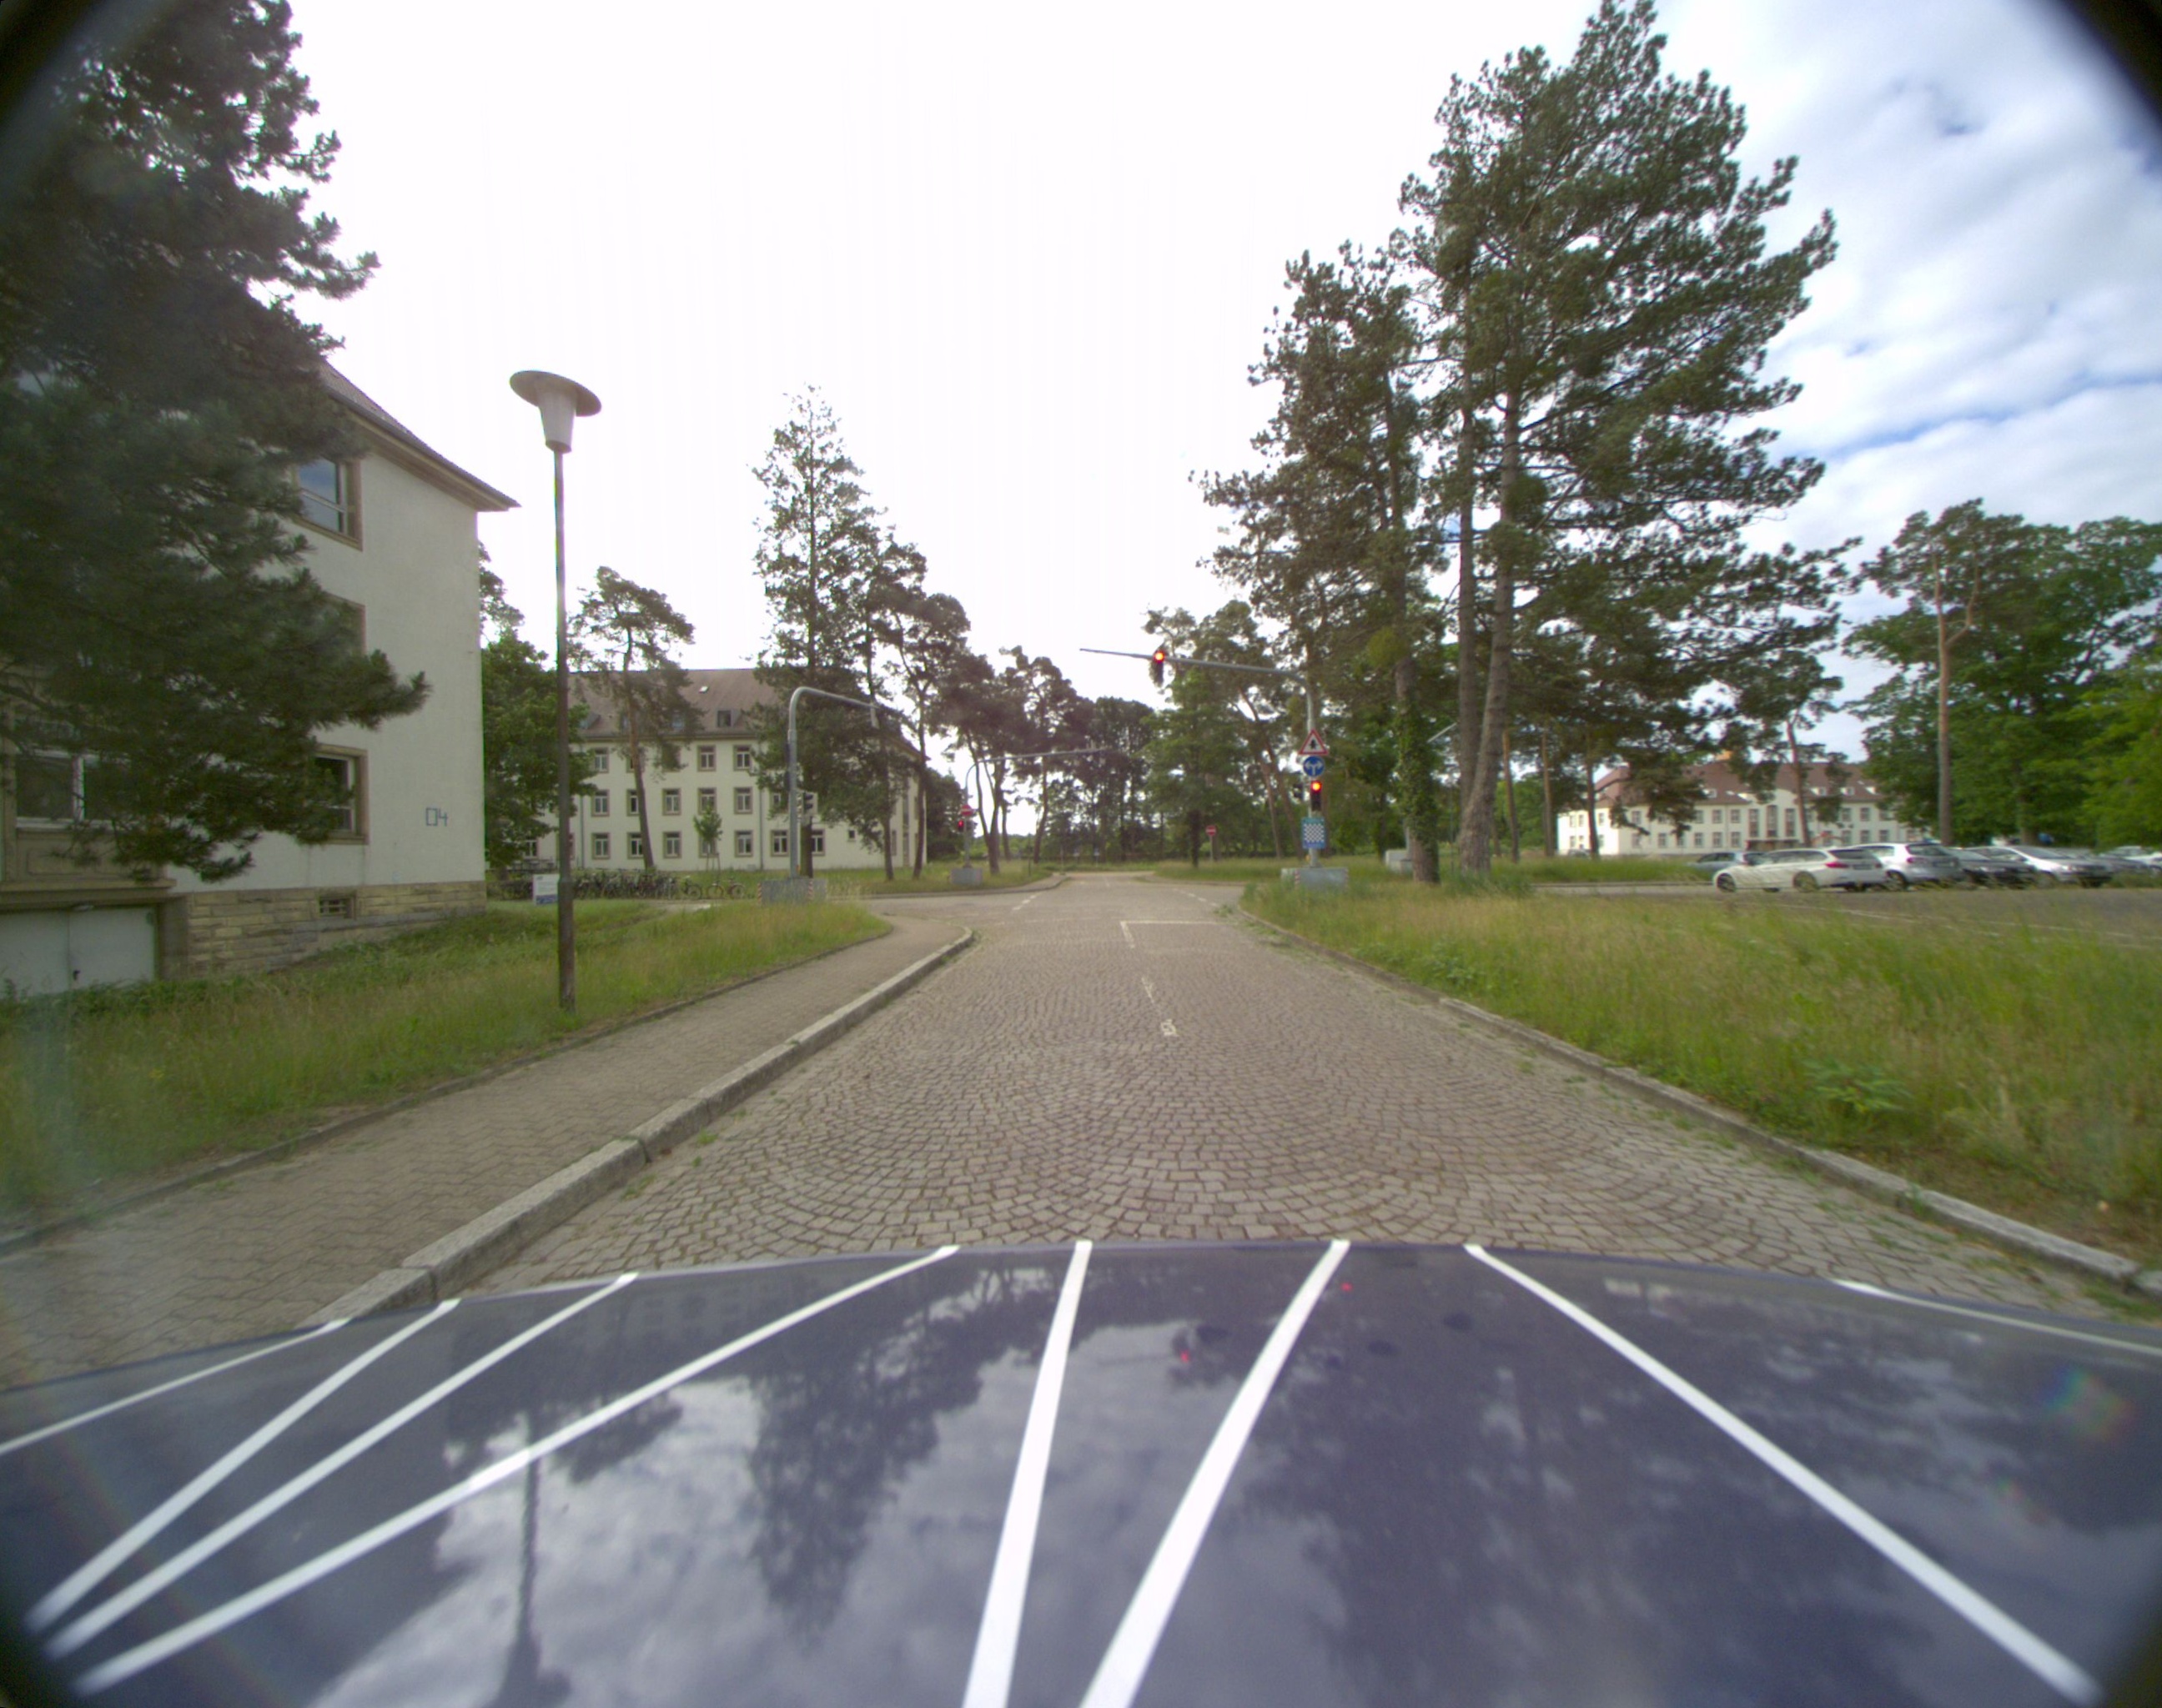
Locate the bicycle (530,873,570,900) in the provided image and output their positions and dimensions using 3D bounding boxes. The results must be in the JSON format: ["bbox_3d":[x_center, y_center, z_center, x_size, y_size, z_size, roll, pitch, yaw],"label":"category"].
[{"bbox_3d":[-23.456,1.436,33.596,0.448,1.121,1.731,-1,0,4],"label":"bicycle"}]

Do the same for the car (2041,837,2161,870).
[{"bbox_3d":[49.174,-0.020,35.935,1.830,1.466,4.401,-1,0,-3],"label":"car"}]

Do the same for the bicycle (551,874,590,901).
[{"bbox_3d":[-22.489,1.454,33.507,0.448,1.121,1.731,-1,0,4],"label":"bicycle"}]

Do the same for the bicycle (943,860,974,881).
[{"bbox_3d":[-6.391,0.863,39.768,0.613,1.079,1.660,-1,0,33],"label":"bicycle"}]

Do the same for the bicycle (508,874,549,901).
[{"bbox_3d":[-24.420,1.459,33.619,0.448,1.121,1.731,-1,0,4],"label":"bicycle"}]

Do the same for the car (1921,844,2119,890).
[{"bbox_3d":[31.432,0.403,25.629,1.637,1.391,4.037,-1,0,-2],"label":"car"}]

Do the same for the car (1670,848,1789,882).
[{"bbox_3d":[30.742,0.503,36.216,1.829,1.466,4.402,-1,0,-2],"label":"car"}]

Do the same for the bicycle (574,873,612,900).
[{"bbox_3d":[-21.468,1.424,33.452,0.448,1.121,1.731,-1,0,4],"label":"bicycle"}]

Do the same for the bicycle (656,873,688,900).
[{"bbox_3d":[-18.020,1.407,33.517,0.476,1.121,1.657,-1,0,0],"label":"bicycle"}]

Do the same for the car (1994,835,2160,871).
[{"bbox_3d":[46.236,-0.024,35.464,1.829,1.466,4.401,-3,0,-3],"label":"car"}]

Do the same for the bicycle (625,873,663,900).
[{"bbox_3d":[-19.141,1.405,33.327,0.447,1.121,1.703,-1,0,10],"label":"bicycle"}]

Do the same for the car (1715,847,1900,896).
[{"bbox_3d":[23.465,0.530,24.820,1.829,1.417,4.320,-1,0,-2],"label":"car"}]

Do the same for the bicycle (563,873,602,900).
[{"bbox_3d":[-21.950,1.426,33.491,0.448,1.121,1.731,-1,0,4],"label":"bicycle"}]

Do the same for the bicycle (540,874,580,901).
[{"bbox_3d":[-22.975,1.452,33.555,0.448,1.121,1.731,-1,0,4],"label":"bicycle"}]

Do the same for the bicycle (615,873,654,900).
[{"bbox_3d":[-19.616,1.428,33.401,0.447,1.121,1.732,-1,0,10],"label":"bicycle"}]

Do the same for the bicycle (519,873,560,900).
[{"bbox_3d":[-23.919,1.433,33.599,0.448,1.121,1.731,-1,0,4],"label":"bicycle"}]

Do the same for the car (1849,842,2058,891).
[{"bbox_3d":[28.628,0.380,25.192,1.829,1.466,4.402,-1,0,-2],"label":"car"}]

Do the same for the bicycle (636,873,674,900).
[{"bbox_3d":[-18.648,1.407,33.295,0.476,1.121,1.704,-1,0,10],"label":"bicycle"}]

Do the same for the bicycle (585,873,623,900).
[{"bbox_3d":[-20.958,1.425,33.422,0.448,1.121,1.731,-1,0,5],"label":"bicycle"}]

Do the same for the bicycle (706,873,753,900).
[{"bbox_3d":[-14.781,1.377,31.966,1.656,1.079,0.614,-1,0,-2],"label":"bicycle"}]

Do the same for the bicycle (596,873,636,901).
[{"bbox_3d":[-20.410,1.442,33.367,0.447,1.121,1.732,-1,0,10],"label":"bicycle"}]

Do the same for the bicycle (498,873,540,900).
[{"bbox_3d":[-24.859,1.441,33.631,0.448,1.121,1.731,-1,0,4],"label":"bicycle"}]

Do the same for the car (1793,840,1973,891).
[{"bbox_3d":[25.972,0.417,24.825,1.674,1.510,3.899,-1,-2,-2],"label":"car"}]

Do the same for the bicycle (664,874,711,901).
[{"bbox_3d":[-16.483,1.385,31.853,1.655,1.079,0.615,-1,0,3],"label":"bicycle"}]
